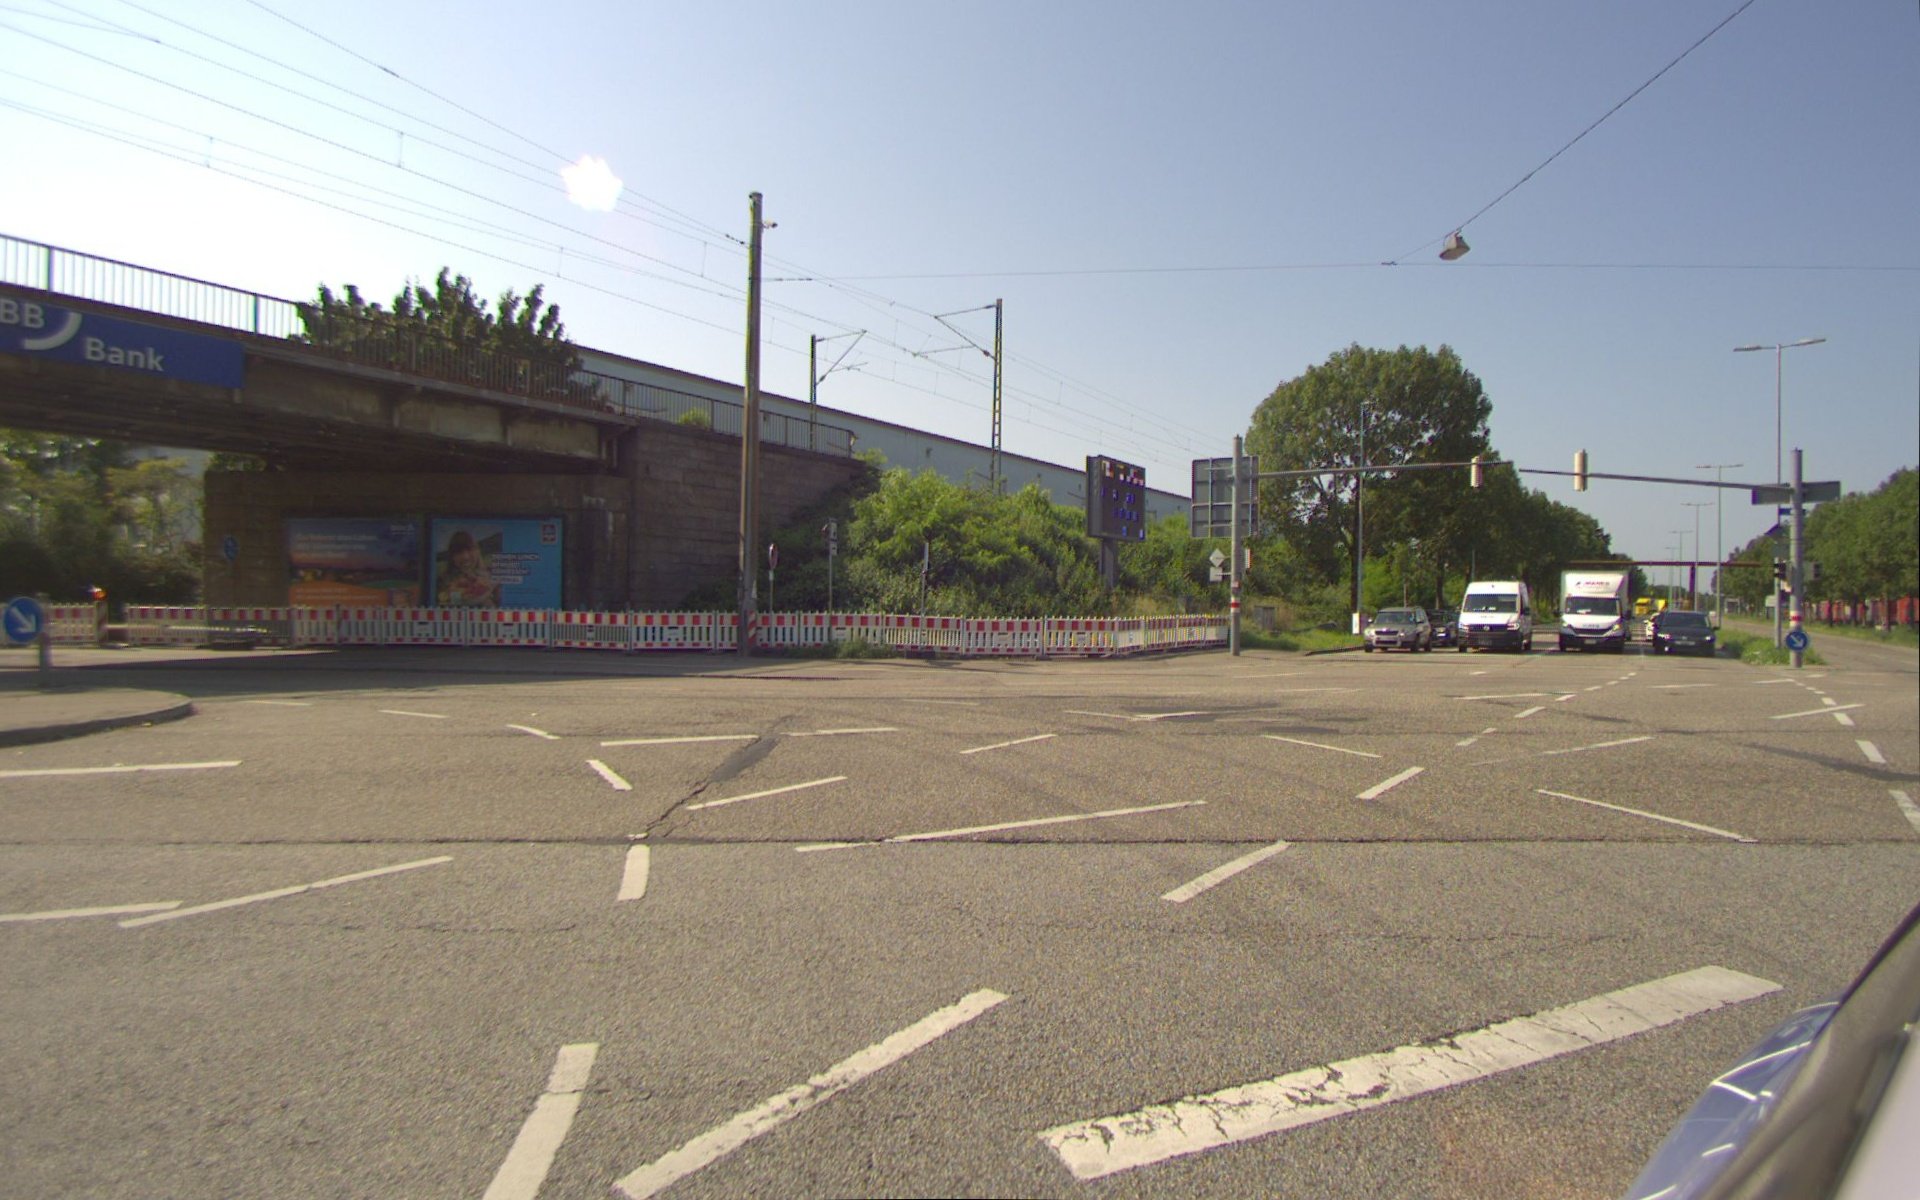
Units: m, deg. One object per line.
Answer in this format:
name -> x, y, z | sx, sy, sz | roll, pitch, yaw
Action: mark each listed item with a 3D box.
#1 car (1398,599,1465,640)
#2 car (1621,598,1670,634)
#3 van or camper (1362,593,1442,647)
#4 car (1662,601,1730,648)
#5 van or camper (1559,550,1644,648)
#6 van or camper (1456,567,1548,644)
car -> 19.404, 0.781, 41.555 | 1.985, 1.572, 3.953 | -1, -1, 33
car -> 34.261, 0.831, 50.555 | 1.648, 1.686, 3.700 | -2, -3, 39
van or camper -> 15.844, 0.749, 36.200 | 1.839, 1.800, 4.120 | -1, -3, 35
car -> 27.388, 0.963, 37.665 | 1.895, 1.634, 5.125 | -1, -3, 36
van or camper -> 24.655, 0.092, 38.755 | 2.236, 3.406, 6.758 | -1, -3, 36
van or camper -> 20.061, 0.317, 37.291 | 2.234, 2.515, 6.778 | -1, -3, 34
